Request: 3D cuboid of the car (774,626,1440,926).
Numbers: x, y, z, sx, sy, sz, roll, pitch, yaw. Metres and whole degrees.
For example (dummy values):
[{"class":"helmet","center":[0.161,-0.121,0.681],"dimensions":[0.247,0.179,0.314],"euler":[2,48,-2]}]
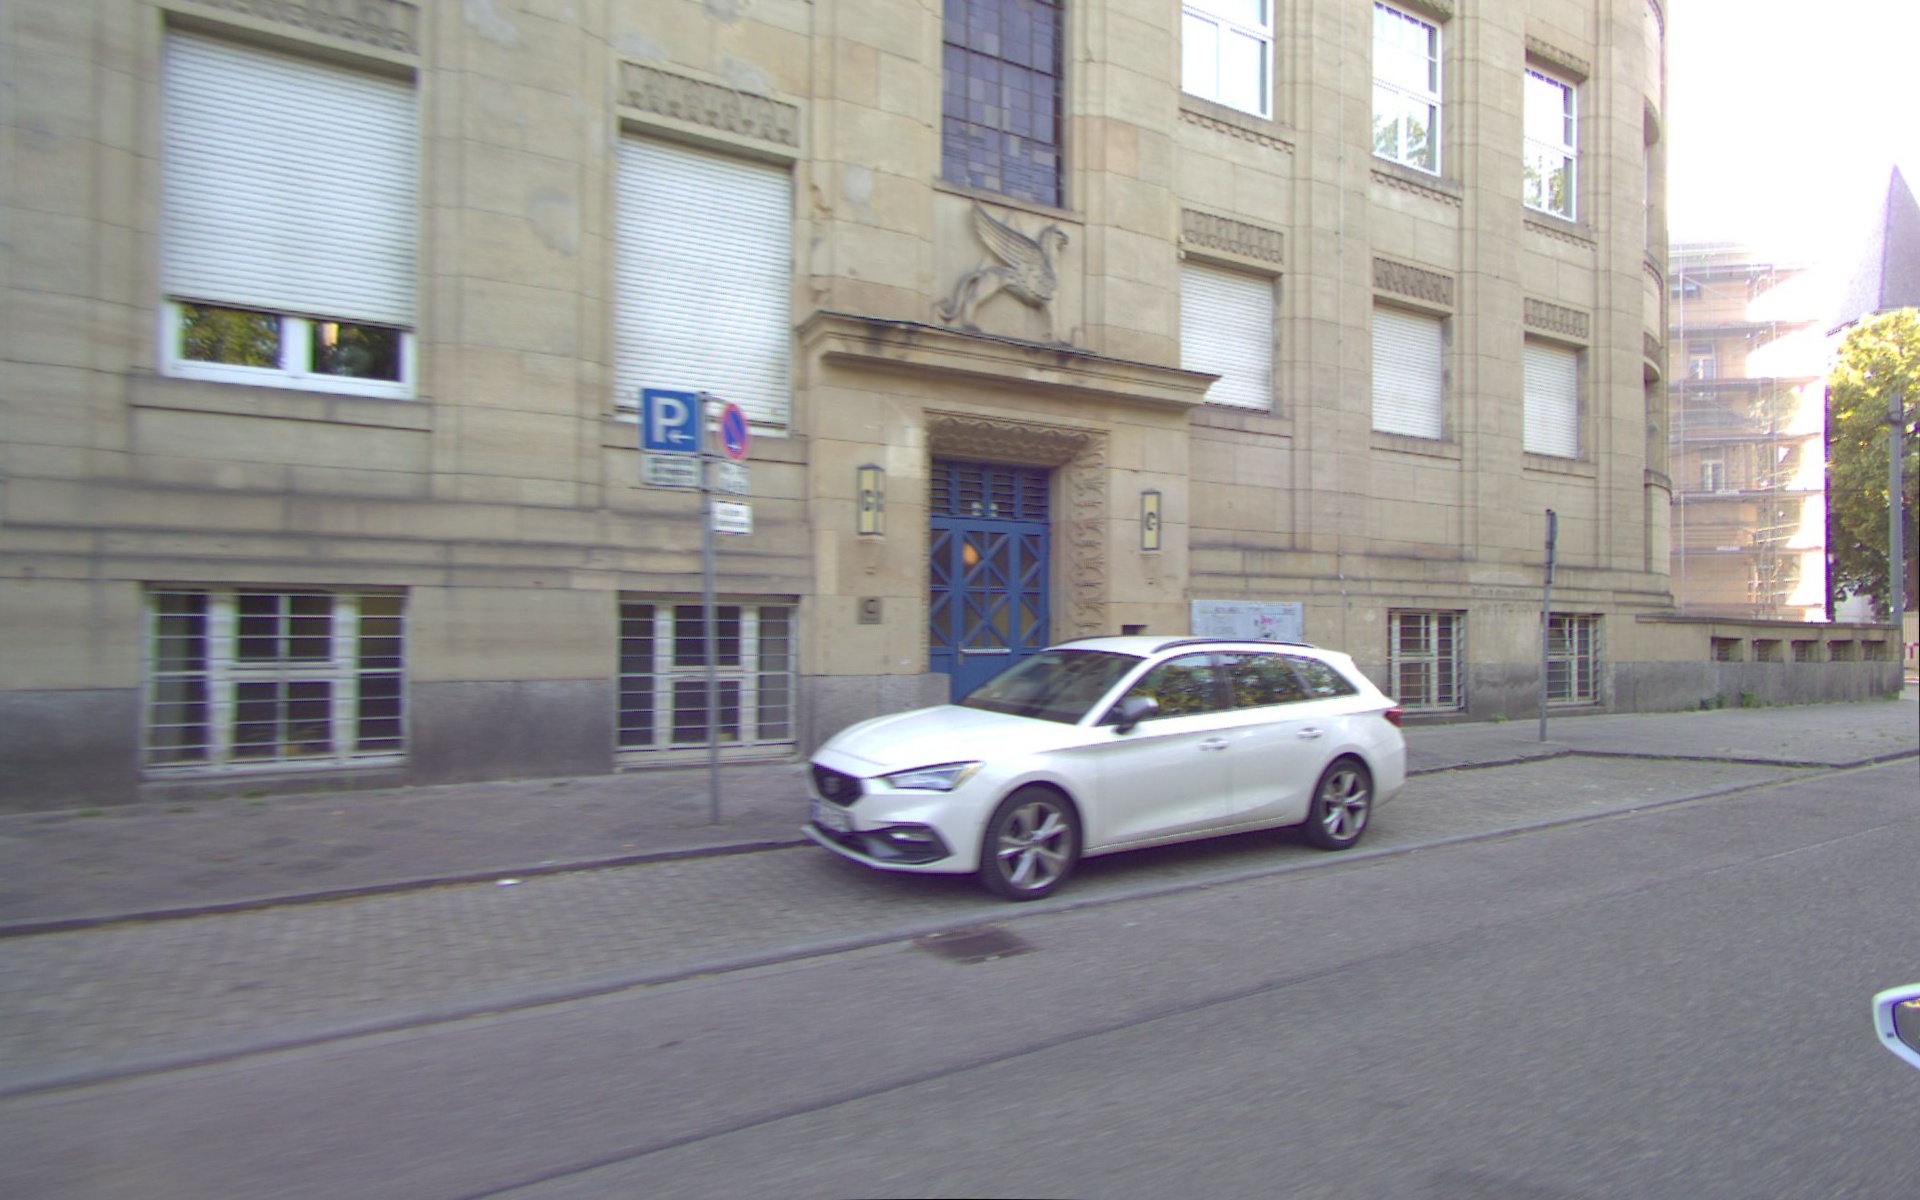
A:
[{"class":"car","center":[1.168,0.937,6.934],"dimensions":[4.510,1.454,1.734],"euler":[1,-1,-32]}]
